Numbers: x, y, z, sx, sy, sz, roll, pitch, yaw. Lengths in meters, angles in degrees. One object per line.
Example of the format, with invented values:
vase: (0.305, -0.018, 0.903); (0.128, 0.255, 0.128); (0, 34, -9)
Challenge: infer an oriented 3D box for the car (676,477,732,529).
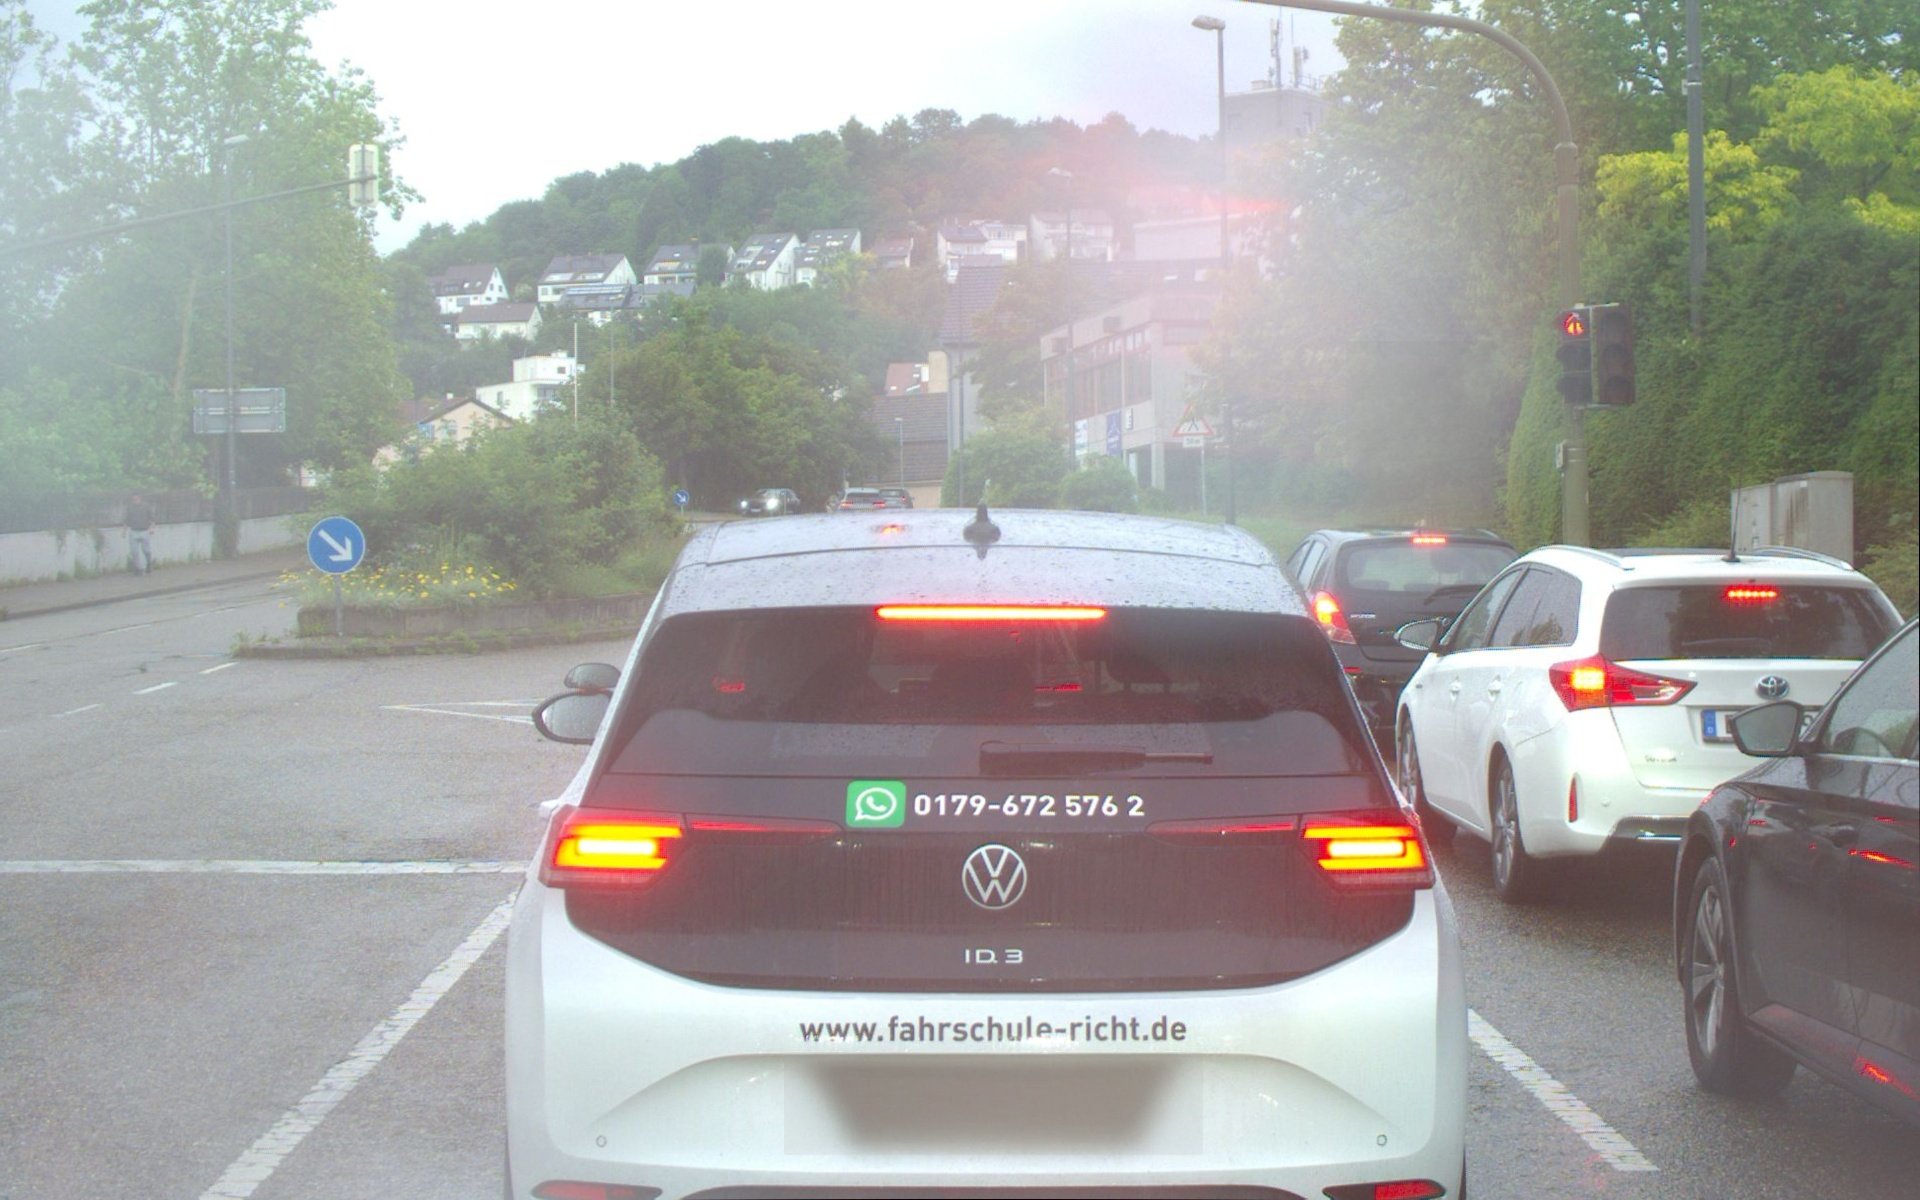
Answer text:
car: (-10.457, -3.947, 140.392); (1.993, 2.007, 4.000); (1, 0, 0)

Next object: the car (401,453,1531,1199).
car: (-0.042, 0.531, 7.977); (1.837, 1.623, 4.616); (1, 1, -1)

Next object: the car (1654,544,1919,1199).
car: (2.859, 0.649, 7.491); (1.838, 1.461, 4.350); (1, 1, 1)

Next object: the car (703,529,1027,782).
car: (-0.587, 0.280, 21.679); (1.837, 1.395, 3.831); (1, 1, -1)

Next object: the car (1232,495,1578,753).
car: (2.929, 0.122, 23.412); (1.775, 1.576, 4.000); (1, 1, 0)

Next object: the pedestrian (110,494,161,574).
pedestrian: (-16.511, -1.317, 68.878); (0.760, 1.562, 0.825); (-3, 1, -1)

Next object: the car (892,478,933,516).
car: (-2.175, -4.705, 157.493); (1.775, 1.576, 4.000); (-2, 1, 0)

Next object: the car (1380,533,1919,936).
car: (3.056, 0.472, 14.977); (1.837, 1.461, 4.117); (1, 1, -1)

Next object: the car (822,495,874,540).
car: (-4.108, -3.025, 126.924); (1.775, 1.576, 4.000); (-2, 1, 0)

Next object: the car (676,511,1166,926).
car: (-0.193, 0.401, 15.214); (1.837, 1.549, 4.175); (1, 1, -1)
